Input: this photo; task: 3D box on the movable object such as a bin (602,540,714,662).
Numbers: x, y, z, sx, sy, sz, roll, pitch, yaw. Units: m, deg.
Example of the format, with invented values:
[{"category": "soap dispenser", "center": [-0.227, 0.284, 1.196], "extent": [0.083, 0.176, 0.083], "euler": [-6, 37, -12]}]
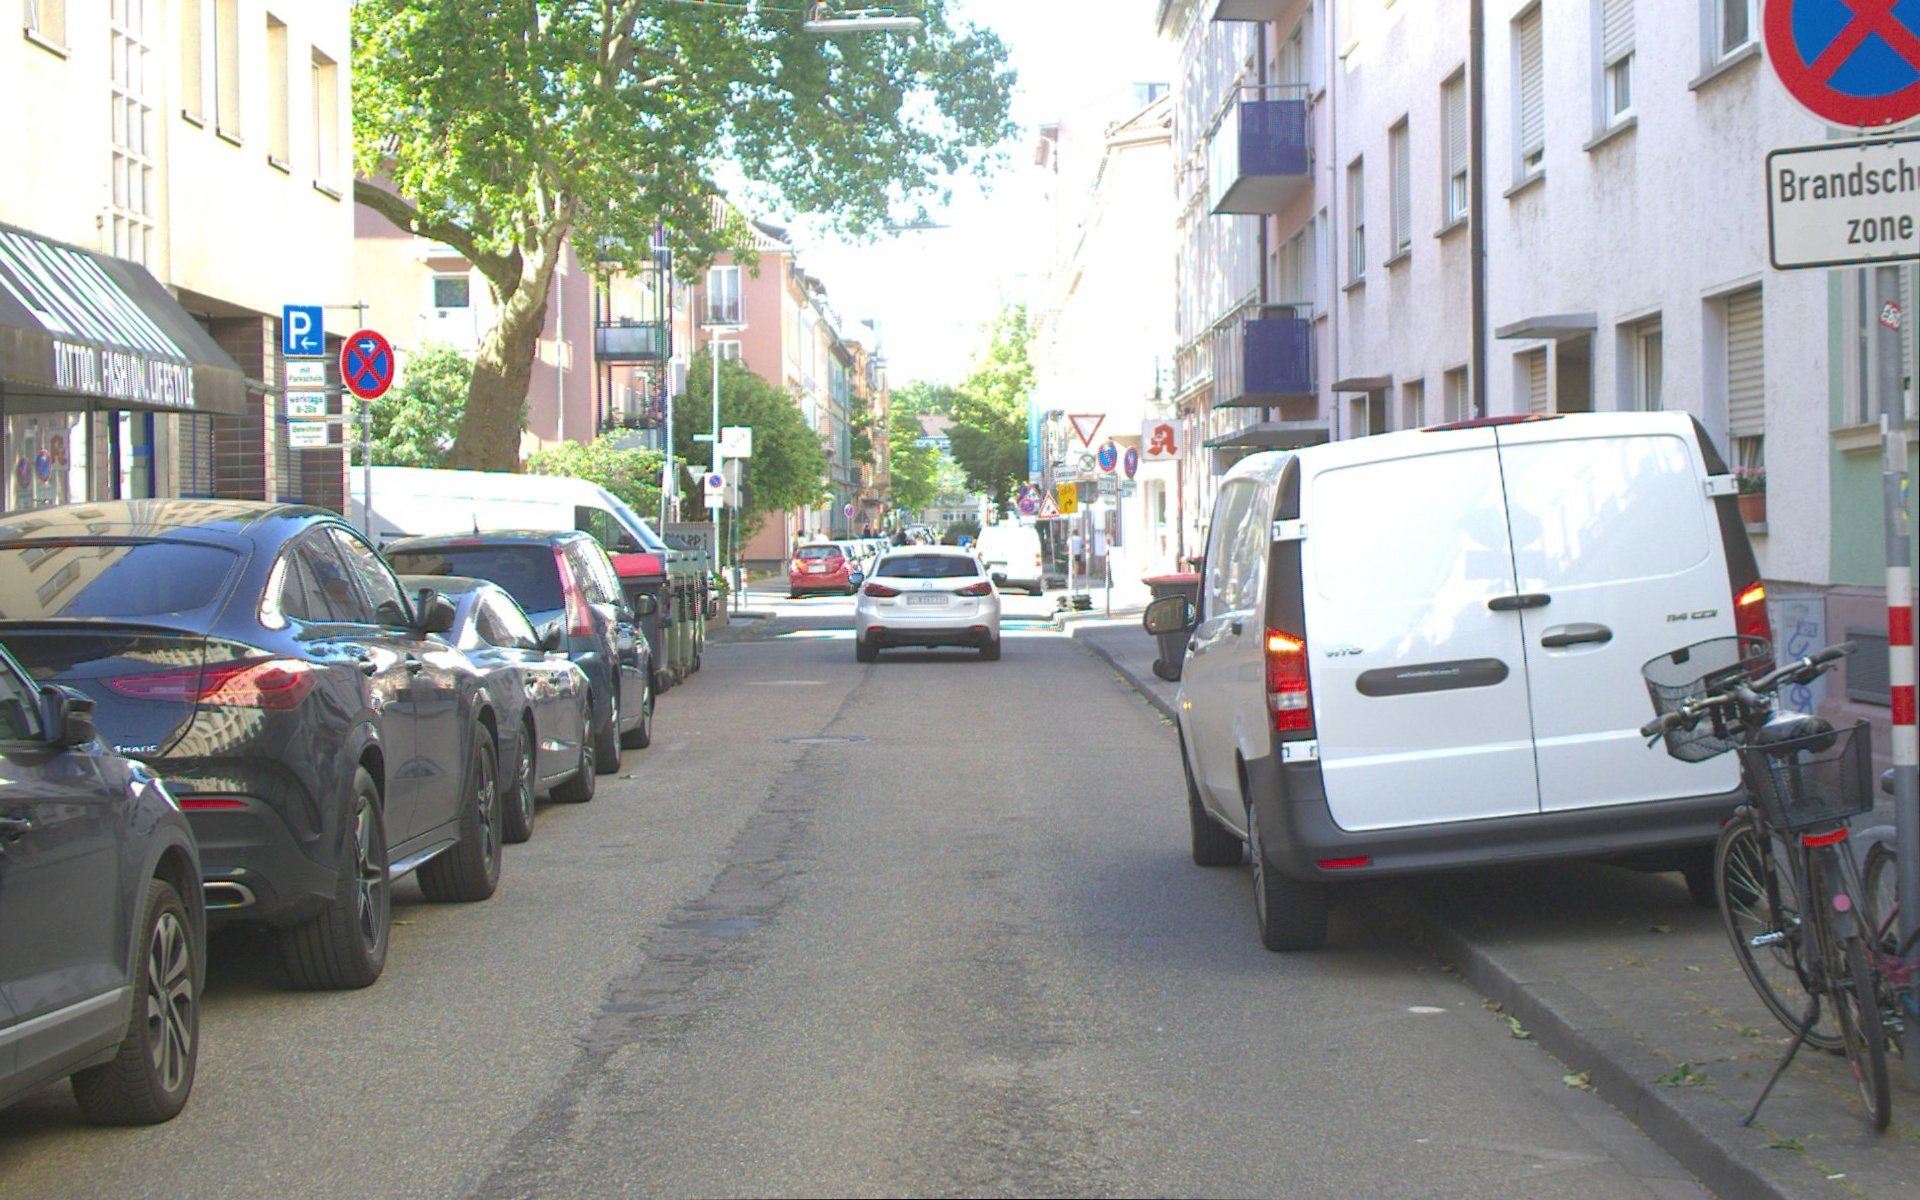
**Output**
[{"category": "movable object such as a bin", "center": [-3.617, 0.010, 41.256], "extent": [1.300, 1.446, 1.118], "euler": [0, 0, -3]}]

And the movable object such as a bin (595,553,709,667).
[{"category": "movable object such as a bin", "center": [-3.590, 0.111, 40.158], "extent": [1.241, 1.317, 1.046], "euler": [0, 0, 0]}]

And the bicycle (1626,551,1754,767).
[{"category": "bicycle", "center": [4.287, 0.318, 20.276], "extent": [0.405, 1.202, 2.159], "euler": [-1, 0, 3]}]

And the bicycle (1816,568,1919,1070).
[{"category": "bicycle", "center": [2.738, 0.563, 8.941], "extent": [0.575, 1.266, 2.199], "euler": [-3, 1, 4]}]

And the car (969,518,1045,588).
[{"category": "car", "center": [1.302, -1.345, 97.310], "extent": [1.942, 1.941, 4.079], "euler": [0, 1, -2]}]

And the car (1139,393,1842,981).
[{"category": "car", "center": [1.966, 0.236, 14.586], "extent": [1.983, 1.877, 5.600], "euler": [-4, 1, 0]}]

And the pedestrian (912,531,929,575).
[{"category": "pedestrian", "center": [-1.608, -1.911, 141.055], "extent": [0.647, 1.791, 0.639], "euler": [-1, 0, 1]}]

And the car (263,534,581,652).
[{"category": "car", "center": [-6.989, -0.096, 44.944], "extent": [3.875, 1.499, 1.827], "euler": [0, 0, -1]}]

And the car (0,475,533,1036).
[{"category": "car", "center": [-2.973, 0.451, 13.318], "extent": [1.936, 1.730, 5.142], "euler": [-1, 1, 0]}]

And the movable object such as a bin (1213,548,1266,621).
[{"category": "movable object such as a bin", "center": [4.290, -0.245, 52.745], "extent": [0.729, 1.100, 0.693], "euler": [-1, 0, -2]}]

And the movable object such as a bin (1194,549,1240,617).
[{"category": "movable object such as a bin", "center": [4.088, -0.272, 54.692], "extent": [0.701, 1.069, 0.596], "euler": [-1, 0, 2]}]

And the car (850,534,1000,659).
[{"category": "car", "center": [-0.444, -0.077, 43.947], "extent": [1.823, 1.509, 3.824], "euler": [-1, 1, 0]}]

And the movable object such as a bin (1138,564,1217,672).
[{"category": "movable object such as a bin", "center": [2.225, 0.180, 35.249], "extent": [0.768, 1.083, 0.693], "euler": [-1, 0, 1]}]

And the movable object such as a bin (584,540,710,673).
[{"category": "movable object such as a bin", "center": [-3.546, 0.068, 39.065], "extent": [1.334, 1.486, 1.082], "euler": [0, 0, 0]}]

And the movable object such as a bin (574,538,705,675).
[{"category": "movable object such as a bin", "center": [-3.530, 0.071, 37.996], "extent": [1.343, 1.494, 1.018], "euler": [0, 0, 0]}]

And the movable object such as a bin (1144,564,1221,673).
[{"category": "movable object such as a bin", "center": [2.231, 0.180, 34.536], "extent": [0.732, 1.077, 0.703], "euler": [-1, 0, 1]}]

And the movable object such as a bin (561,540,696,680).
[{"category": "movable object such as a bin", "center": [-3.552, 0.104, 36.961], "extent": [1.348, 1.482, 1.003], "euler": [0, 0, 0]}]

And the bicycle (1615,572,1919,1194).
[{"category": "bicycle", "center": [2.084, 0.615, 8.628], "extent": [0.575, 1.316, 2.199], "euler": [-2, 1, 4]}]

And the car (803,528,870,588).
[{"category": "car", "center": [-3.573, -1.222, 99.751], "extent": [1.720, 1.677, 3.726], "euler": [-1, 1, 1]}]

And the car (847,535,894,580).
[{"category": "car", "center": [-3.282, -1.556, 126.369], "extent": [1.572, 1.580, 3.611], "euler": [-1, 0, 1]}]

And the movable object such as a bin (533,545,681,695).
[{"category": "movable object such as a bin", "center": [-3.553, 0.198, 34.743], "extent": [1.319, 1.445, 1.187], "euler": [-2, 0, 0]}]

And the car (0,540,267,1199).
[{"category": "car", "center": [-2.951, 0.654, 7.801], "extent": [1.713, 1.526, 4.367], "euler": [-2, 1, 2]}]

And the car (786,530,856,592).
[{"category": "car", "center": [-3.778, -1.078, 94.155], "extent": [1.769, 1.583, 3.726], "euler": [-1, 2, 0]}]

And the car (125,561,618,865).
[{"category": "car", "center": [-3.099, 0.530, 19.120], "extent": [1.845, 1.412, 4.818], "euler": [-2, 0, 0]}]

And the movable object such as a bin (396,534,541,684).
[{"category": "movable object such as a bin", "center": [-4.957, 0.084, 34.762], "extent": [1.296, 1.493, 1.179], "euler": [0, 0, 0]}]

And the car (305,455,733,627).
[{"category": "car", "center": [-7.308, -0.980, 57.430], "extent": [6.739, 2.546, 2.145], "euler": [2, 0, 2]}]

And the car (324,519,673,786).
[{"category": "car", "center": [-3.168, 0.290, 24.500], "extent": [1.782, 1.661, 4.670], "euler": [-2, 1, 0]}]

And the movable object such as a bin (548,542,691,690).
[{"category": "movable object such as a bin", "center": [-3.546, 0.163, 35.917], "extent": [1.334, 1.479, 1.093], "euler": [-2, 0, 0]}]
